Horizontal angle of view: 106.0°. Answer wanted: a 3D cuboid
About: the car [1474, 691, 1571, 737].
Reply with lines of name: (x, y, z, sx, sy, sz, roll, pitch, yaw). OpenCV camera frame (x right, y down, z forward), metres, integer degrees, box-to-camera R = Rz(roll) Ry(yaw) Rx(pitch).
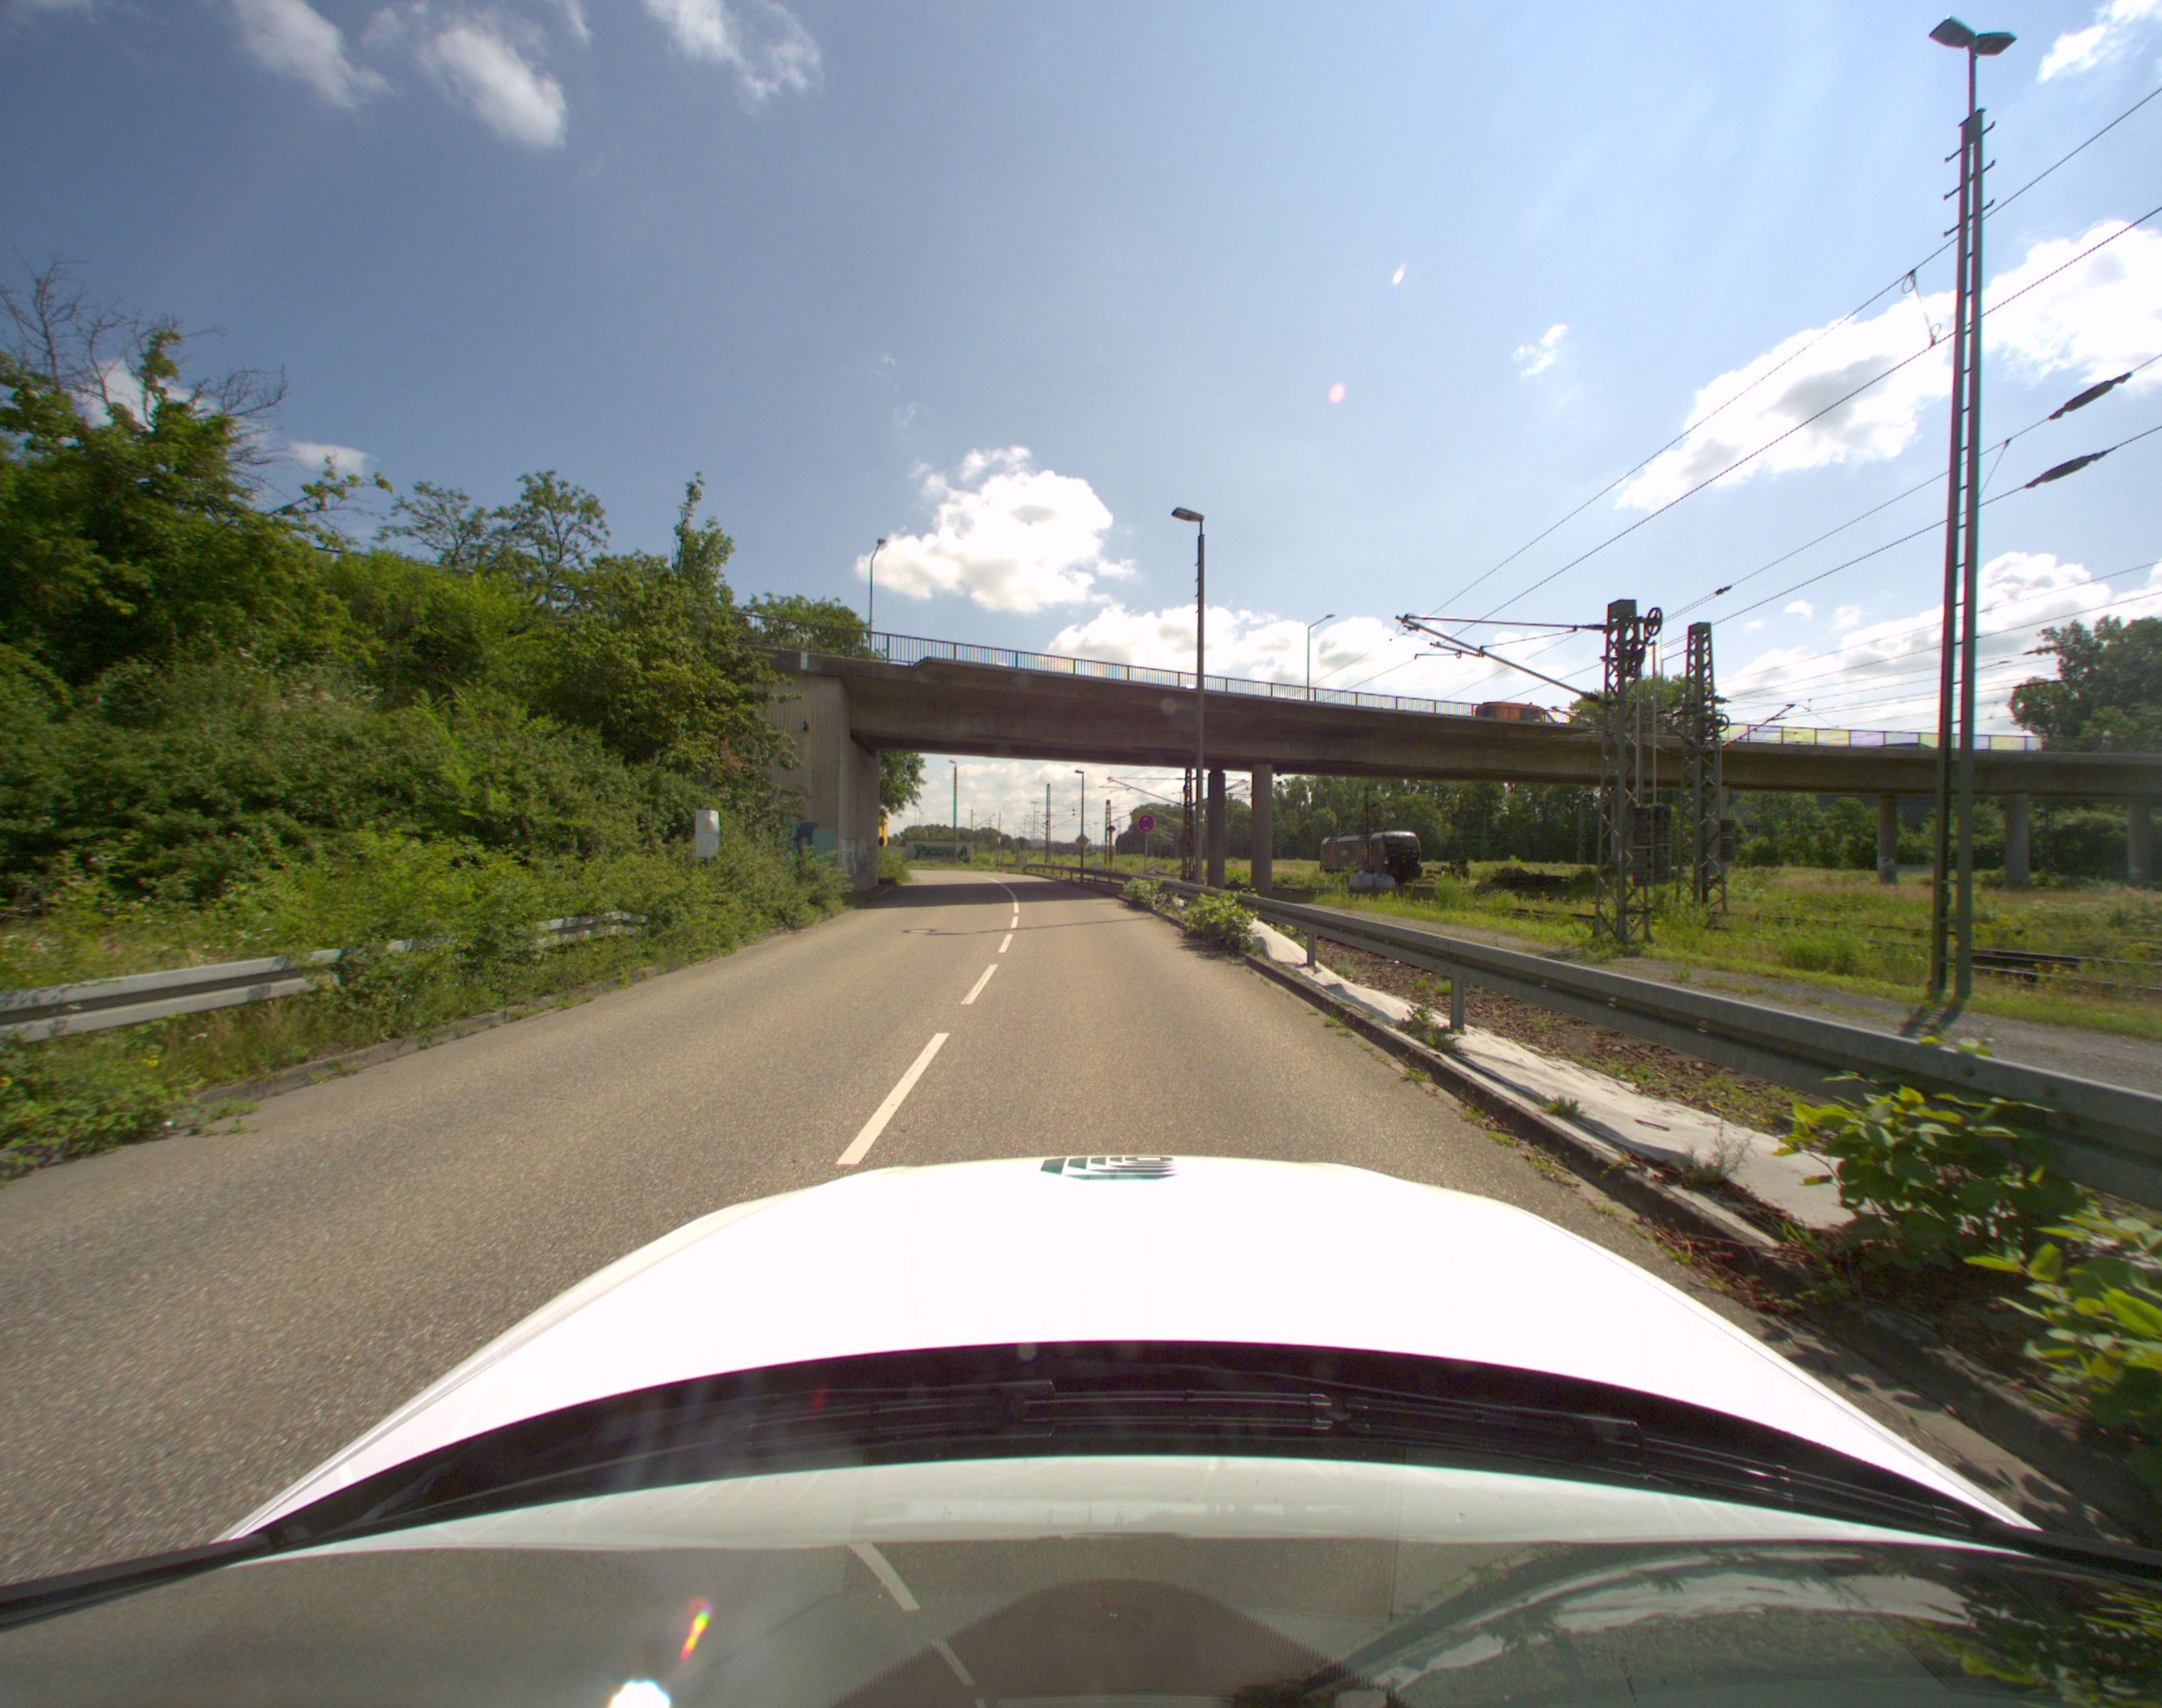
car: (25.454, -8.000, 46.958, 5.342, 2.014, 1.985, -1, -2, -23)

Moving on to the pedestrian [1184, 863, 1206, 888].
pedestrian: (7.202, 1.347, 51.451, 1.107, 1.540, 1.578, 0, -1, -2)

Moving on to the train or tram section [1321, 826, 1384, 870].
train or tram section: (22.928, -0.405, 69.287, 2.746, 3.477, 8.240, 0, -1, 1)

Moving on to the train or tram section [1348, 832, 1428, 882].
train or tram section: (22.723, 0.257, 60.857, 2.880, 3.509, 8.566, 0, -1, 1)
